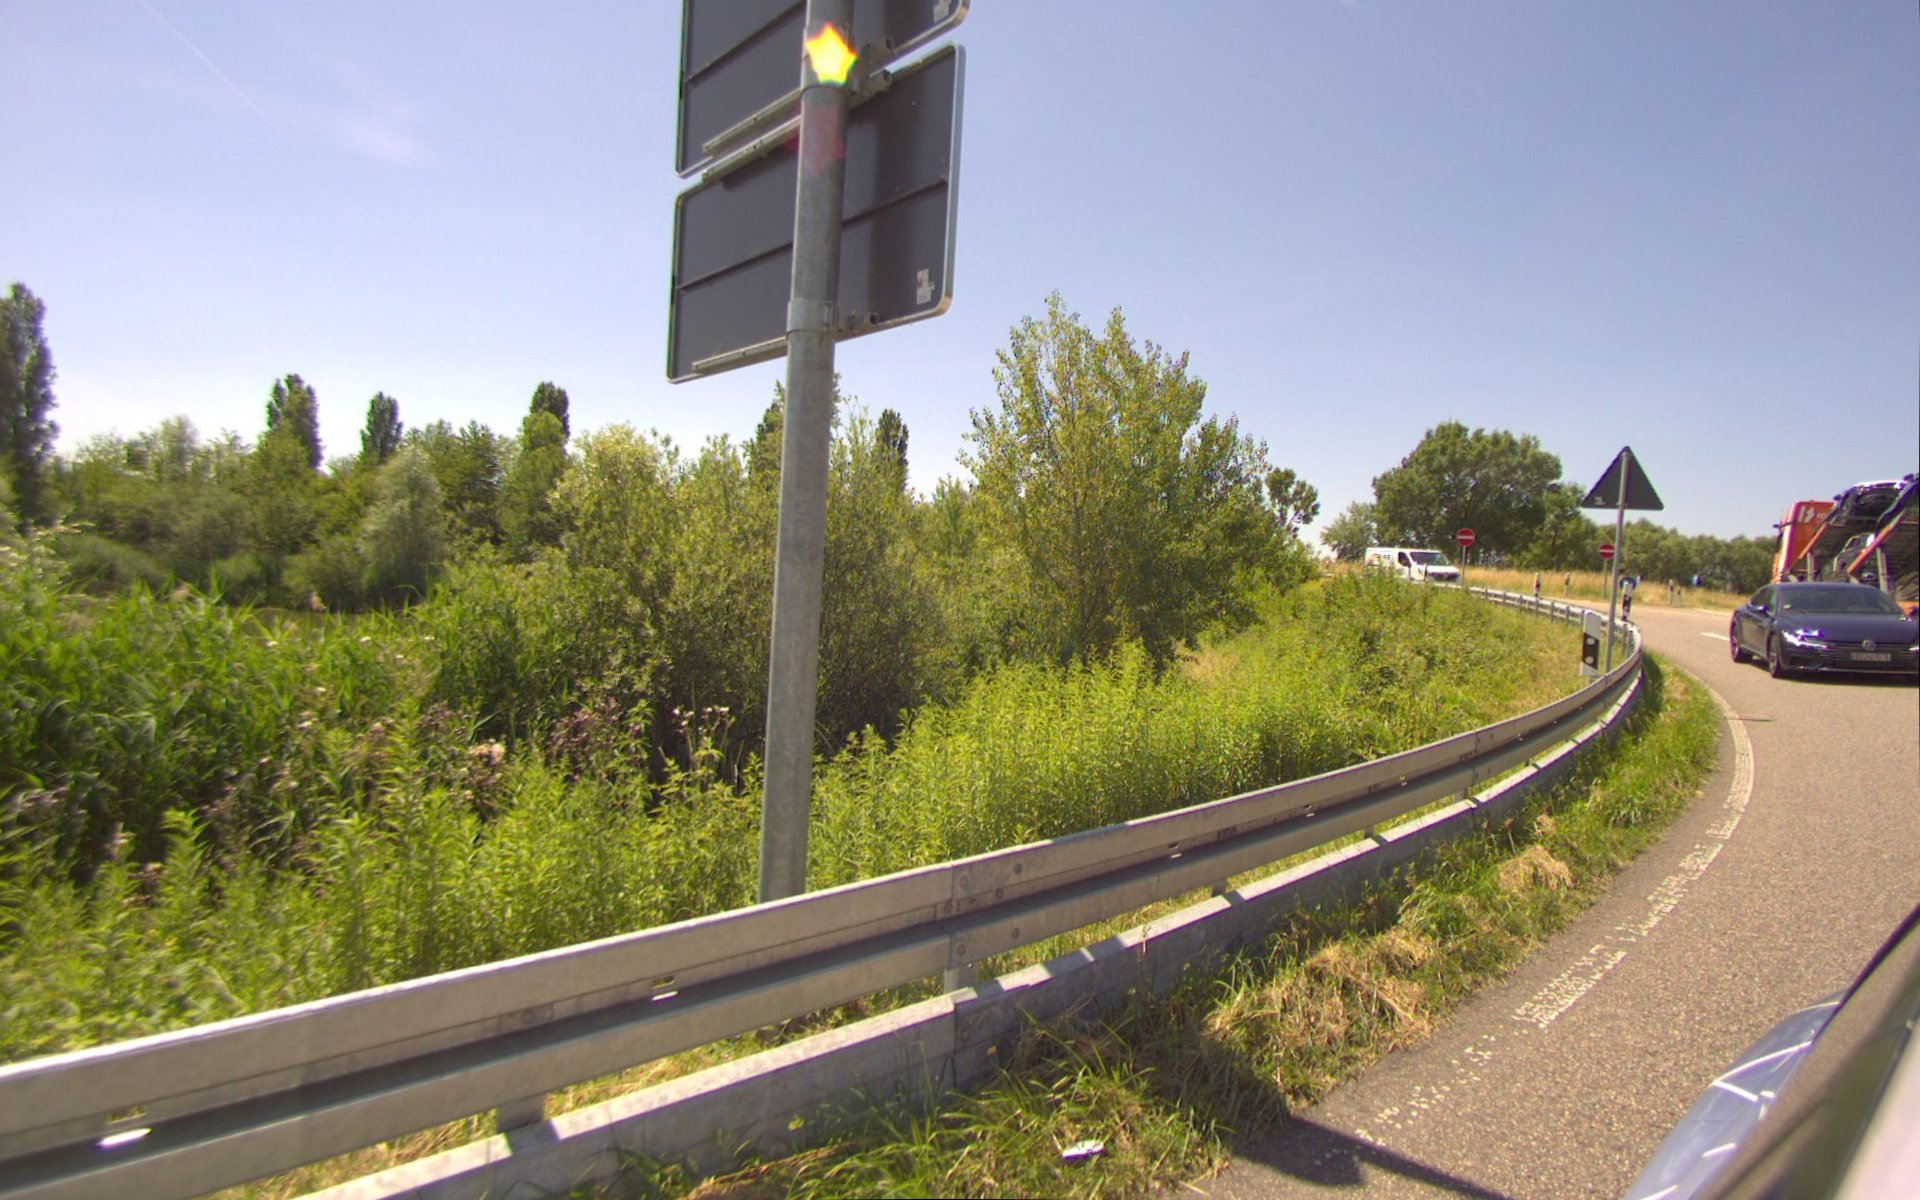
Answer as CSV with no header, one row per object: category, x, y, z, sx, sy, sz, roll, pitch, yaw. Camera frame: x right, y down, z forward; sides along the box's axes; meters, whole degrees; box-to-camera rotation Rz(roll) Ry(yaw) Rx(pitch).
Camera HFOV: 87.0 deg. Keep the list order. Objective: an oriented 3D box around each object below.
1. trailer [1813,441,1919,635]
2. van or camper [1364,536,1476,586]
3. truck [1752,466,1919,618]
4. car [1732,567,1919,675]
trailer,21.992,-1.320,22.052,2.778,3.946,13.840,1,2,30
van or camper,19.980,-1.654,44.257,1.970,2.057,5.454,-1,1,-5
truck,26.597,-1.637,30.318,2.771,3.946,8.701,1,2,27
car,13.765,0.240,15.897,1.827,1.448,4.491,-1,1,28
